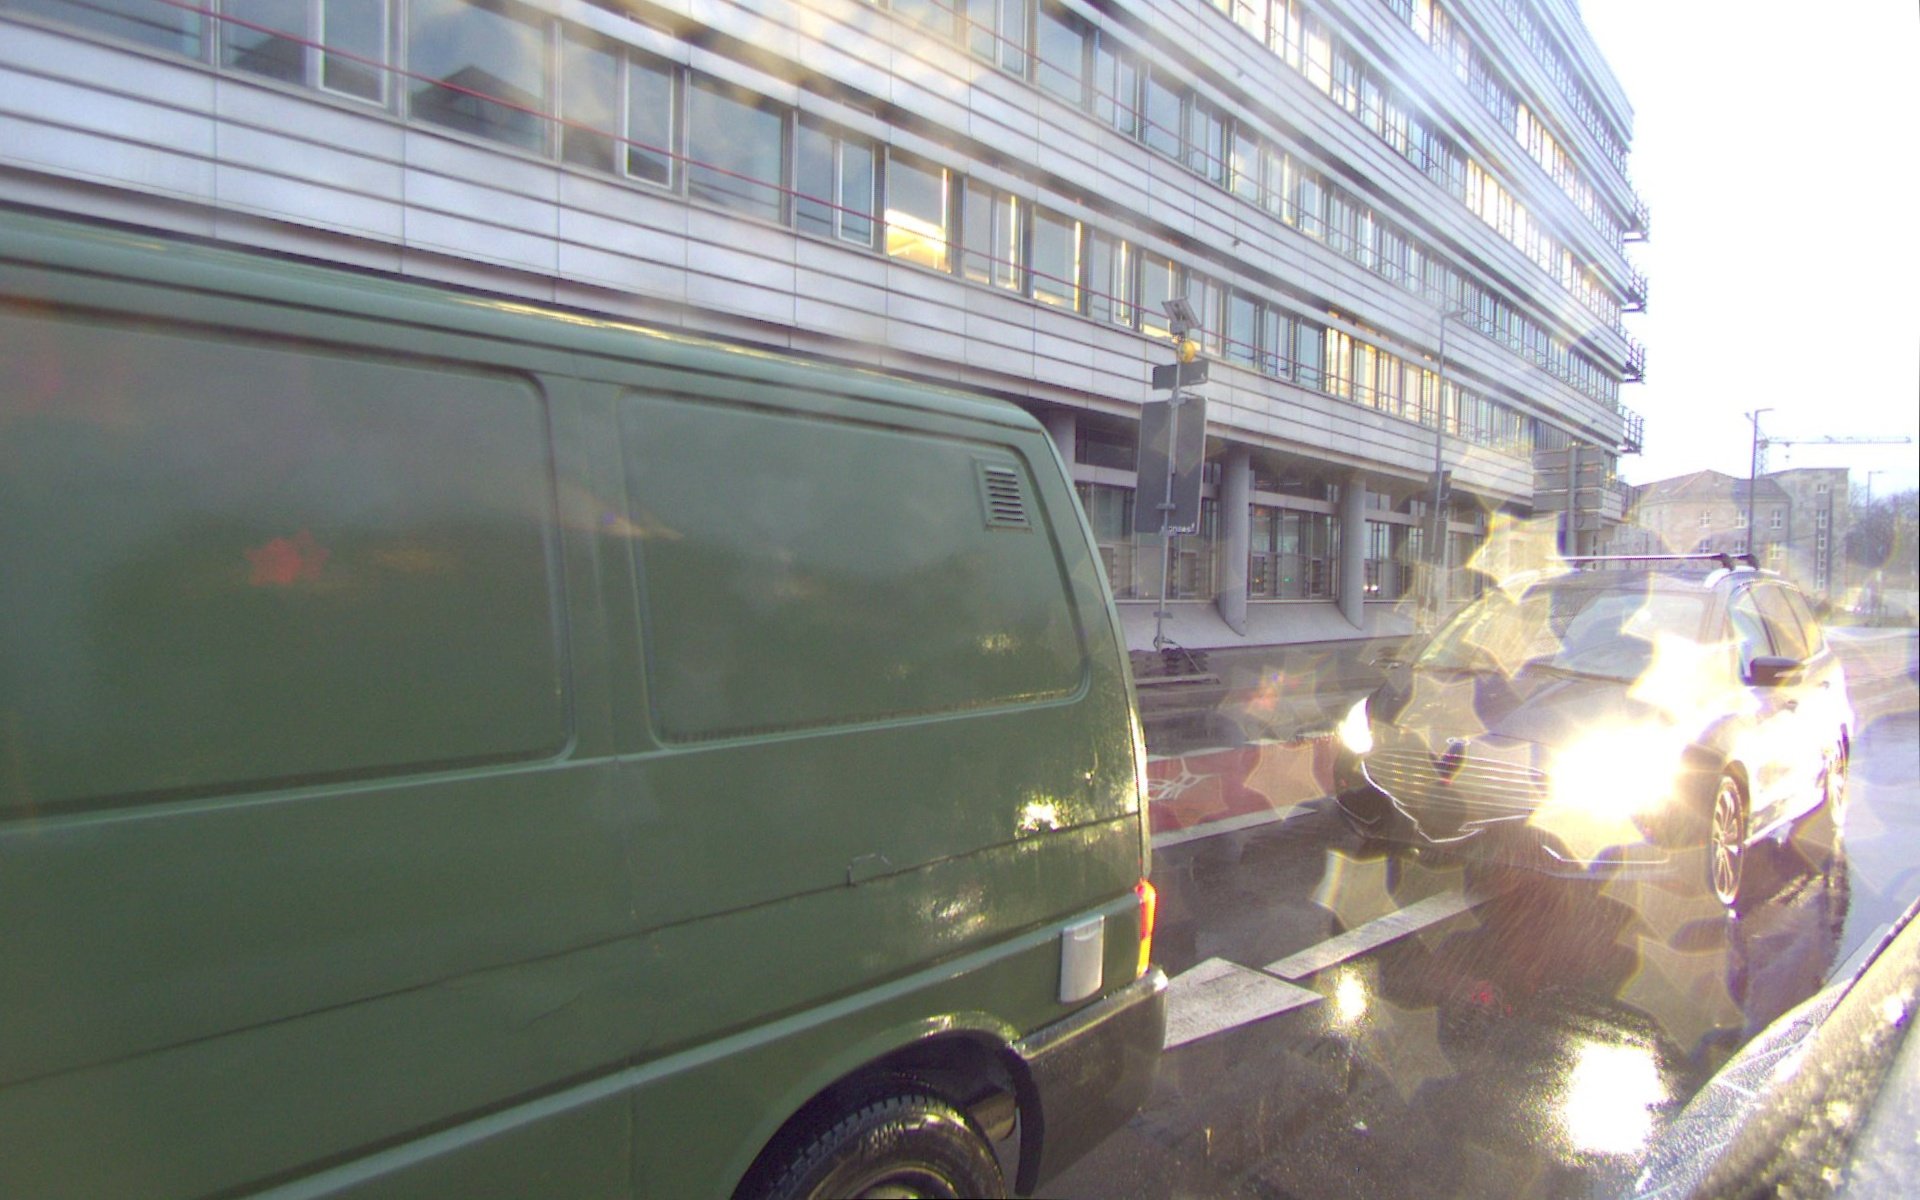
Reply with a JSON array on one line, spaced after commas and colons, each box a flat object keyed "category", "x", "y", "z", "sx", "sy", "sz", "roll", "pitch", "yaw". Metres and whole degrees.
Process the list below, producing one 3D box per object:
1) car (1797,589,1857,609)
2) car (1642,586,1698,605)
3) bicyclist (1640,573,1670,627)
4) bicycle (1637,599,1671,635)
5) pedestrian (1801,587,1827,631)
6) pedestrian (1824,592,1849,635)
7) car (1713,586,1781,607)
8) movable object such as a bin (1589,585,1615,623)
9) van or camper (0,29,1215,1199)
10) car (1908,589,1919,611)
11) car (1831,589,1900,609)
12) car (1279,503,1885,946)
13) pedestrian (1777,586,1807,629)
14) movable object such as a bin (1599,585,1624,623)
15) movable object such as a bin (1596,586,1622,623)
[{"category": "car", "x": 83.441, "y": -0.150, "z": 97.458, "sx": 1.774, "sy": 1.791, "sz": 4.009, "roll": 1, "pitch": 1, "yaw": -21}, {"category": "car", "x": 68.605, "y": -0.465, "z": 97.860, "sx": 1.958, "sy": 1.693, "sz": 4.013, "roll": 0, "pitch": 1, "yaw": -24}, {"category": "bicyclist", "x": 24.329, "y": -0.010, "z": 35.427, "sx": 0.793, "sy": 1.820, "sz": 0.670, "roll": 0, "pitch": 2, "yaw": -45}, {"category": "bicycle", "x": 24.279, "y": 0.568, "z": 35.402, "sx": 0.680, "sy": 1.213, "sz": 1.733, "roll": 2, "pitch": 1, "yaw": 45}, {"category": "pedestrian", "x": 34.511, "y": 0.340, "z": 40.894, "sx": 0.870, "sy": 1.723, "sz": 0.650, "roll": 0, "pitch": 3, "yaw": -44}, {"category": "pedestrian", "x": 35.007, "y": 0.532, "z": 40.400, "sx": 0.870, "sy": 1.689, "sz": 0.615, "roll": 0, "pitch": 3, "yaw": -44}, {"category": "car", "x": 71.059, "y": -0.291, "z": 91.425, "sx": 1.958, "sy": 1.782, "sz": 4.386, "roll": 0, "pitch": 1, "yaw": -24}, {"category": "movable object such as a bin", "x": 24.830, "y": 0.152, "z": 39.158, "sx": 0.826, "sy": 1.446, "sz": 0.665, "roll": 0, "pitch": 1, "yaw": -44}, {"category": "van or camper", "x": -1.684, "y": 0.459, "z": 1.318, "sx": 4.341, "sy": 1.931, "sz": 1.760, "roll": 0, "pitch": 0, "yaw": -41}, {"category": "car", "x": 76.582, "y": 0.073, "z": 78.586, "sx": 1.743, "sy": 1.730, "sz": 3.932, "roll": 0, "pitch": 1, "yaw": -26}, {"category": "car", "x": 74.284, "y": -0.108, "z": 83.076, "sx": 1.743, "sy": 1.556, "sz": 3.775, "roll": 1, "pitch": 2, "yaw": -24}, {"category": "car", "x": 4.144, "y": 0.504, "z": 6.387, "sx": 4.587, "sy": 1.834, "sz": 1.887, "roll": 0, "pitch": 0, "yaw": -39}, {"category": "pedestrian", "x": 34.513, "y": 0.290, "z": 41.985, "sx": 0.953, "sy": 1.722, "sz": 0.746, "roll": 0, "pitch": 4, "yaw": -44}, {"category": "movable object such as a bin", "x": 26.064, "y": 0.165, "z": 40.476, "sx": 0.826, "sy": 1.495, "sz": 0.665, "roll": 0, "pitch": 1, "yaw": -44}, {"category": "movable object such as a bin", "x": 25.490, "y": 0.167, "z": 39.742, "sx": 0.826, "sy": 1.446, "sz": 0.665, "roll": 0, "pitch": 1, "yaw": -44}]
